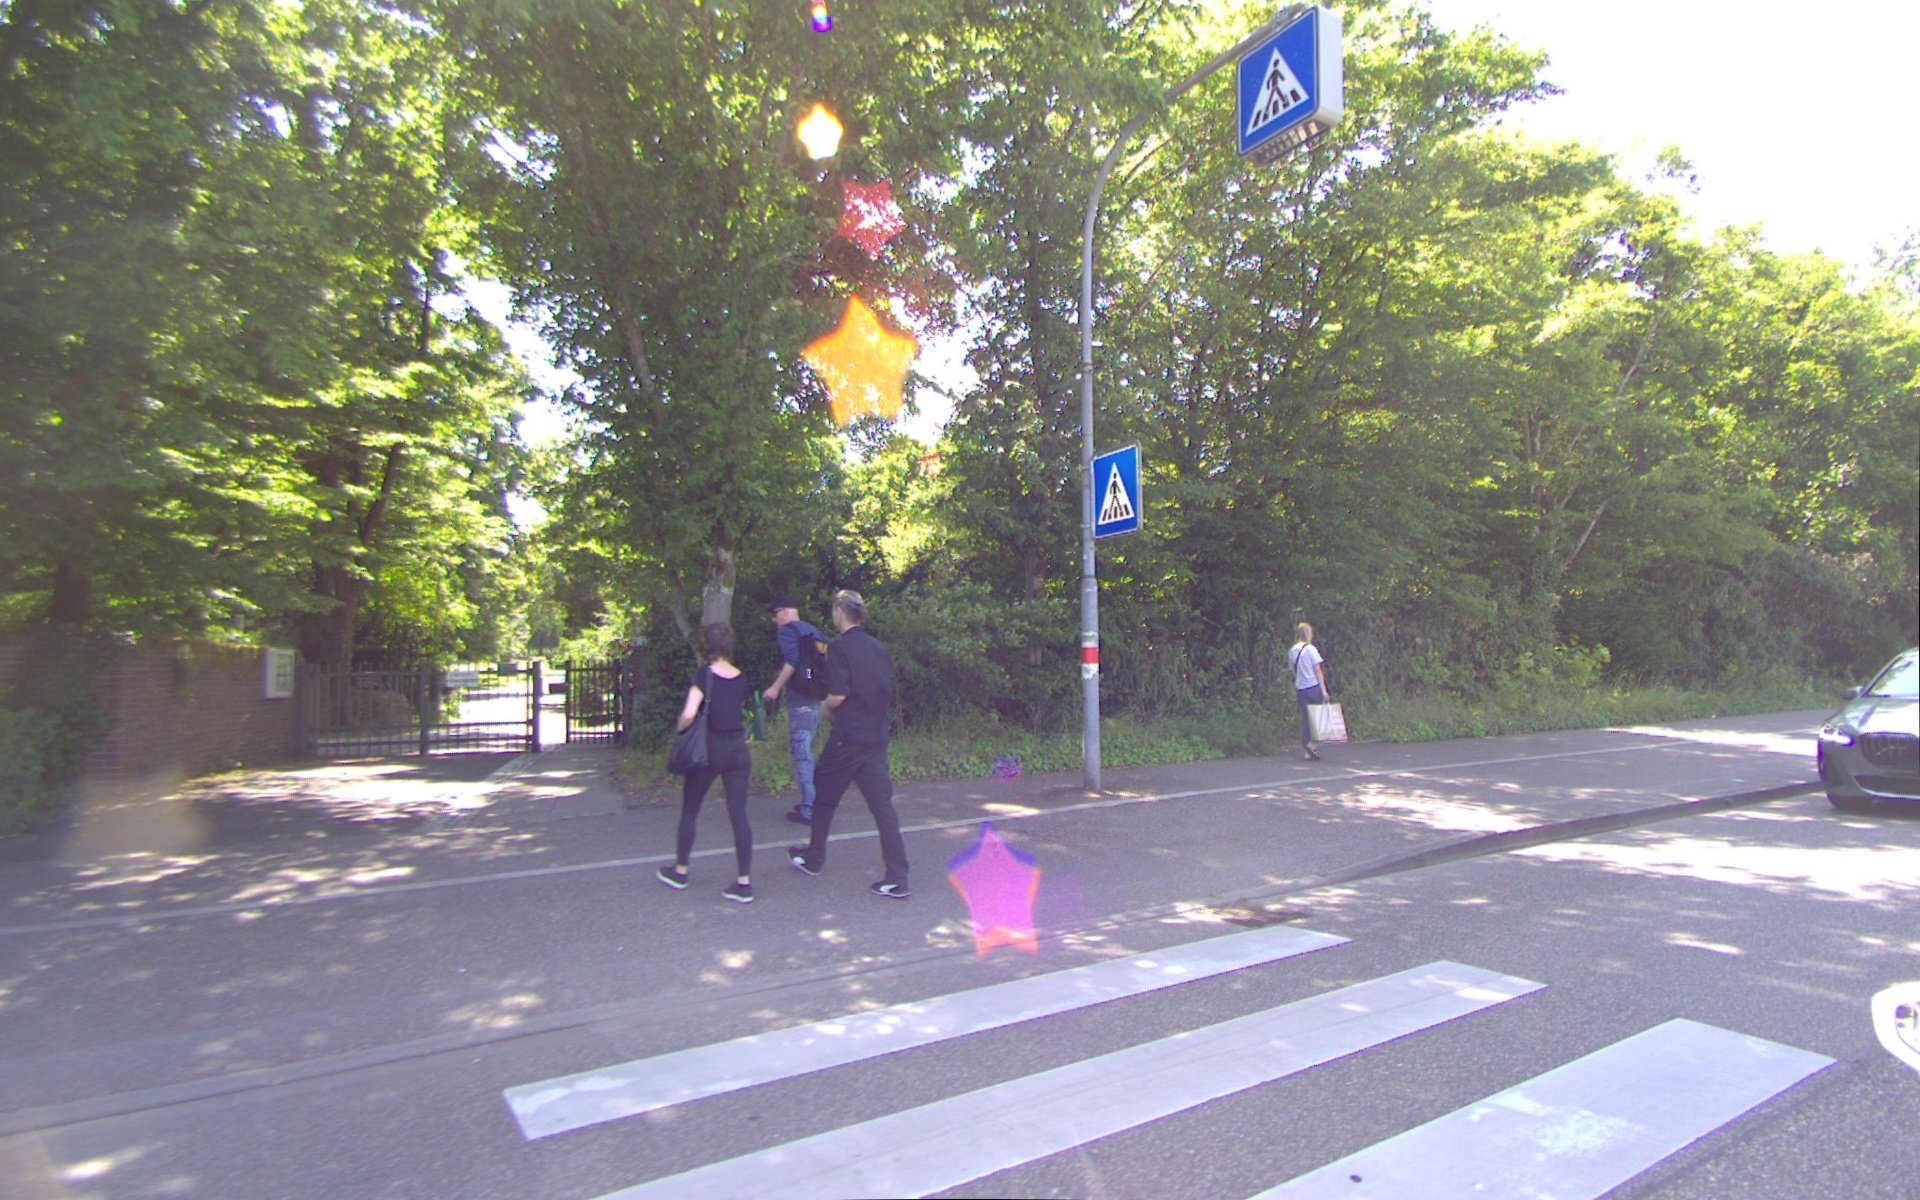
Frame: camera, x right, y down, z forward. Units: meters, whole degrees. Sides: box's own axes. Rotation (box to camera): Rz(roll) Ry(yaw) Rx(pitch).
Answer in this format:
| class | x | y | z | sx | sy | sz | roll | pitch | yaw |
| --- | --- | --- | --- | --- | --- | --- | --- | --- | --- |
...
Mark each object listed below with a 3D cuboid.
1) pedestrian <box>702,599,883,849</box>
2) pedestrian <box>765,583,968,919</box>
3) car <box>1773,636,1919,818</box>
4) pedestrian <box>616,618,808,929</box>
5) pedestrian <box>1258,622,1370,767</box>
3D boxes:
| class | x | y | z | sx | sy | sz | roll | pitch | yaw |
| --- | --- | --- | --- | --- | --- | --- | --- | --- | --- |
| pedestrian | -1.332 | 0.883 | 7.888 | 1.013 | 1.775 | 1.147 | 0 | 0 | -35 |
| pedestrian | -0.610 | 0.856 | 6.345 | 0.777 | 1.889 | 1.074 | 1 | 1 | -39 |
| car | 9.964 | 1.132 | 9.787 | 4.151 | 1.551 | 1.881 | 1 | -6 | -33 |
| pedestrian | -1.492 | 0.949 | 5.996 | 0.774 | 1.633 | 0.886 | 1 | 2 | -39 |
| pedestrian | 4.215 | 1.090 | 11.983 | 0.876 | 1.634 | 0.927 | 1 | -2 | -32 |
